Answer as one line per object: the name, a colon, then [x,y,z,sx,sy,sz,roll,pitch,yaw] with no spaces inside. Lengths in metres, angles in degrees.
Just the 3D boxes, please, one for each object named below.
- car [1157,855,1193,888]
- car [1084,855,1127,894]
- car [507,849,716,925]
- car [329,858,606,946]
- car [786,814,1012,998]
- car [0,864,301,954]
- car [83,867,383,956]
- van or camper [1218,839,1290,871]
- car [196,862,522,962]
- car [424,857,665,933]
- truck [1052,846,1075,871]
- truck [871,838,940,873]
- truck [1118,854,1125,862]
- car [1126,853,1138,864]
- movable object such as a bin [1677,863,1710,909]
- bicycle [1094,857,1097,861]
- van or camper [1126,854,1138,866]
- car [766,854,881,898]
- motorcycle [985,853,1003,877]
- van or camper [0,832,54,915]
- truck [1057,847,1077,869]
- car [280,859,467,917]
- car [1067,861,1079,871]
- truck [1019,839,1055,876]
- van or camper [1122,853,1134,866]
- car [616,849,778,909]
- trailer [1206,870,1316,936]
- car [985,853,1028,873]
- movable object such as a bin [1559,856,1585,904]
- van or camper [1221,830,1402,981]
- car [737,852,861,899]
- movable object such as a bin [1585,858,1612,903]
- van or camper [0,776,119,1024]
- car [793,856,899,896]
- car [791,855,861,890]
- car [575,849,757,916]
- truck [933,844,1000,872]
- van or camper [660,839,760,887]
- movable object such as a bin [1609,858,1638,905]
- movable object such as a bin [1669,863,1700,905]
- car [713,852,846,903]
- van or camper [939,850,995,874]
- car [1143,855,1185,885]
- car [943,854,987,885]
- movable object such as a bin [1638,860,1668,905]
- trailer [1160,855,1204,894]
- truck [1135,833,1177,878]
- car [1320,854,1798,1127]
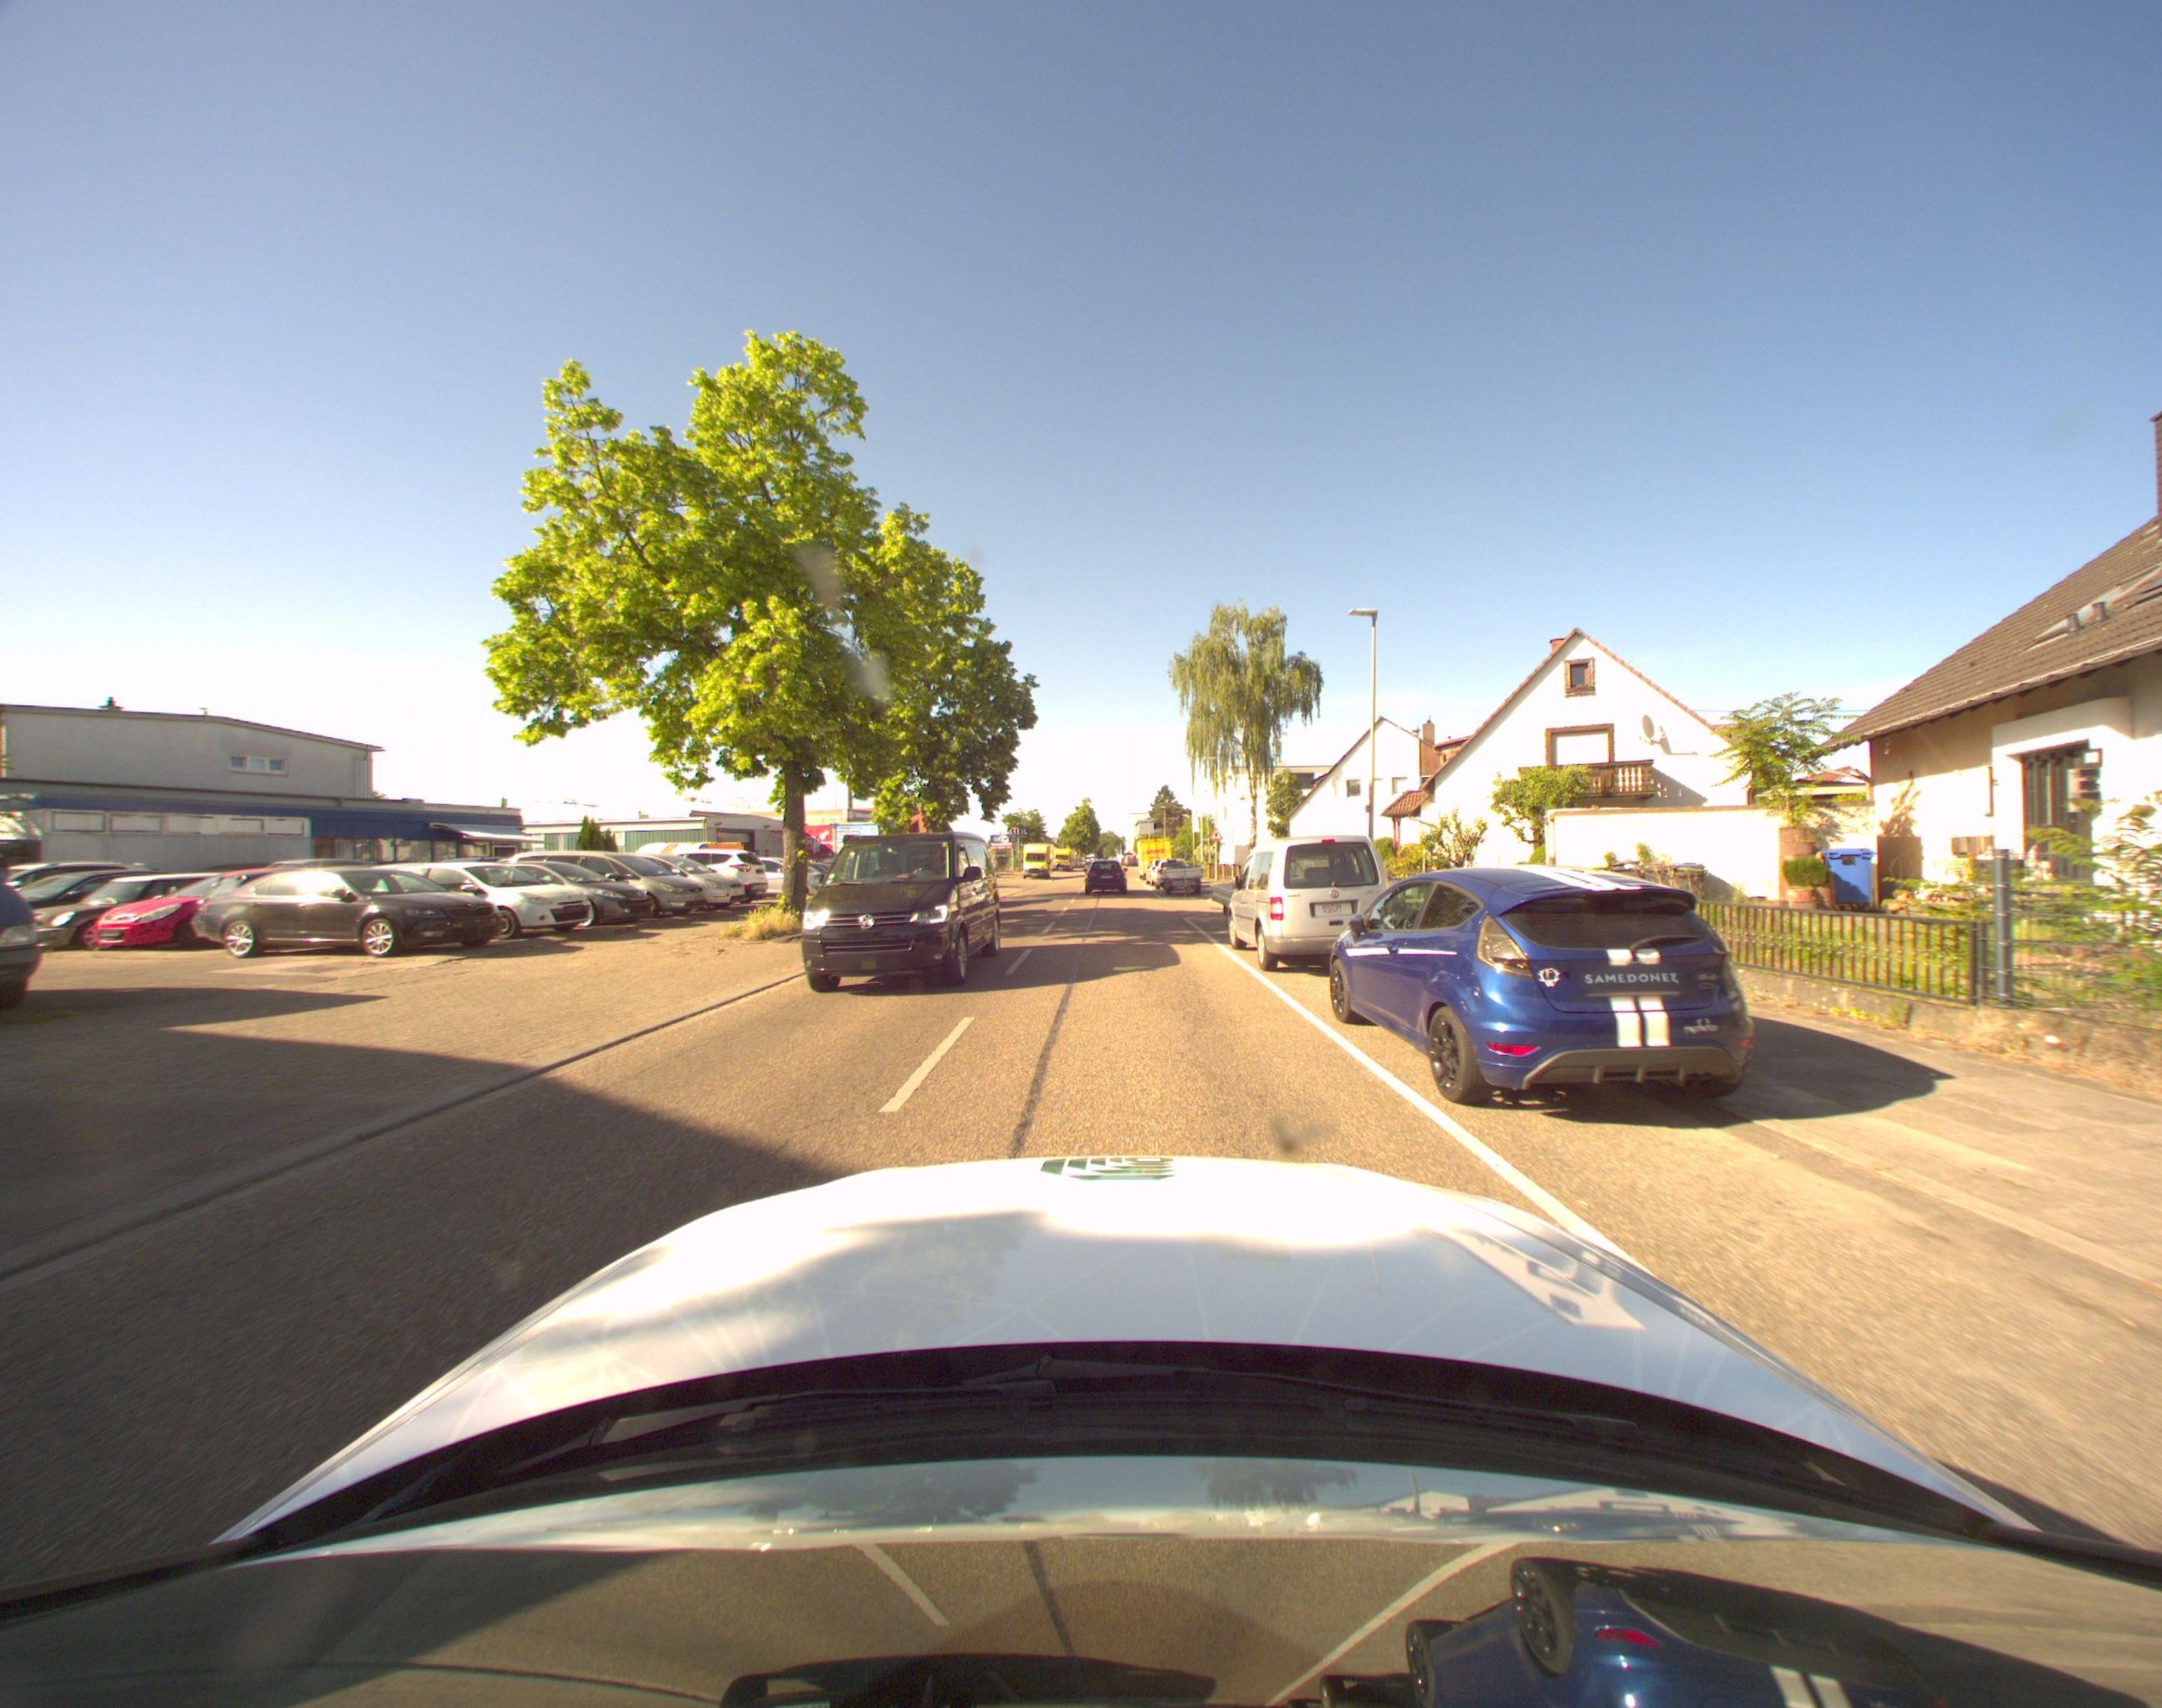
car: [4.615,0.813,40.170,1.666,1.542,4.049,0,0,6]
car: [1.099,0.855,34.993,1.704,1.532,3.690,-1,0,3]
car: [-11.690,0.796,20.423,4.228,1.752,1.768,-1,0,5]
car: [-12.000,0.907,16.079,4.227,1.542,1.769,-1,1,6]
car: [-2.296,0.608,11.740,1.886,2.031,4.821,-3,0,2]
car: [-19.245,1.040,17.060,1.655,1.619,4.009,-1,0,8]
car: [-16.970,1.071,16.624,1.655,1.517,4.009,-1,0,8]
van or camper: [14.893,0.079,70.004,5.839,2.541,2.272,-1,0,-23]
car: [-12.107,0.928,13.794,4.225,1.542,1.769,0,0,7]
car: [-11.952,0.884,18.331,4.234,1.585,1.766,0,0,1]
truck: [-2.145,0.519,100.017,2.393,2.983,6.377,1,0,2]
truck: [-16.134,0.141,75.151,5.629,3.119,2.532,1,0,13]
truck: [12.207,1.243,243.360,1.986,2.288,6.959,-1,0,2]
car: [8.614,0.750,138.640,1.911,1.825,4.082,-1,0,2]
movable object such as a bin: [13.220,0.678,17.574,0.498,0.965,0.461,-1,0,29]
bicycle: [4.499,1.468,246.636,0.826,1.153,2.940,-1,0,1]
van or camper: [9.016,1.106,144.030,1.911,2.019,4.082,-1,0,2]
car: [-10.872,0.906,34.502,4.225,1.728,1.769,-1,0,7]
motorcycle: [-7.288,0.888,68.344,0.777,1.873,3.046,2,1,6]
van or camper: [-23.975,0.431,16.237,1.687,1.773,4.011,-1,0,10]
truck: [-1.881,0.548,109.317,2.183,2.902,6.444,1,0,3]
car: [-20.911,0.946,24.318,1.687,1.555,4.011,-1,0,10]
car: [-1.222,1.874,129.076,1.751,1.403,4.557,-1,0,0]
truck: [-3.627,0.292,68.498,2.394,2.983,7.246,1,0,1]
van or camper: [8.564,1.047,148.846,1.986,2.310,4.002,-1,0,2]
car: [-11.856,0.752,25.269,4.225,1.728,1.769,-1,0,7]
trailer: [3.746,0.984,17.454,1.622,1.217,3.143,-1,0,-1]
car: [-8.026,0.964,88.130,4.222,2.014,1.874,-1,0,10]
movable object such as a bin: [11.549,0.602,19.169,0.498,1.096,0.461,-1,0,29]
van or camper: [3.253,0.658,12.327,1.712,1.890,4.182,0,0,2]
car: [-11.125,0.849,32.245,4.225,1.728,1.769,-1,0,7]
movable object such as a bin: [12.010,0.617,18.918,0.498,1.026,0.461,-1,0,29]
van or camper: [-12.531,0.442,7.855,4.857,2.320,2.252,0,-1,14]
car: [-10.642,0.981,37.042,4.225,1.728,1.769,-1,0,7]
car: [-14.212,1.023,45.645,1.764,1.748,4.179,-1,1,13]
car: [-11.576,0.783,22.852,4.225,1.728,1.769,-1,0,7]
truck: [-10.844,0.327,77.122,5.880,2.567,2.232,0,0,13]
van or camper: [-22.431,0.542,49.590,2.150,2.715,6.291,-1,0,13]
movable object such as a bin: [12.508,0.628,18.789,0.498,1.078,0.461,-1,0,29]
movable object such as a bin: [13.464,0.671,18.180,0.498,0.912,0.461,-1,0,29]
car: [-11.089,0.843,30.114,4.230,1.728,1.767,-1,0,4]
van or camper: [-10.370,0.728,74.026,4.517,2.014,2.256,-1,0,8]
car: [4.628,0.850,45.818,1.779,1.542,4.535,-1,0,-1]
car: [-6.779,0.883,47.974,1.854,1.714,4.278,2,0,1]
movable object such as a bin: [12.965,0.648,18.469,0.498,0.999,0.461,-1,0,29]
trailer: [4.193,0.833,34.191,1.620,1.538,3.201,-1,0,3]
truck: [5.274,0.129,58.231,2.393,2.936,7.019,-3,-1,2]
car: [3.162,0.764,6.293,1.712,1.505,3.565,0,0,2]
